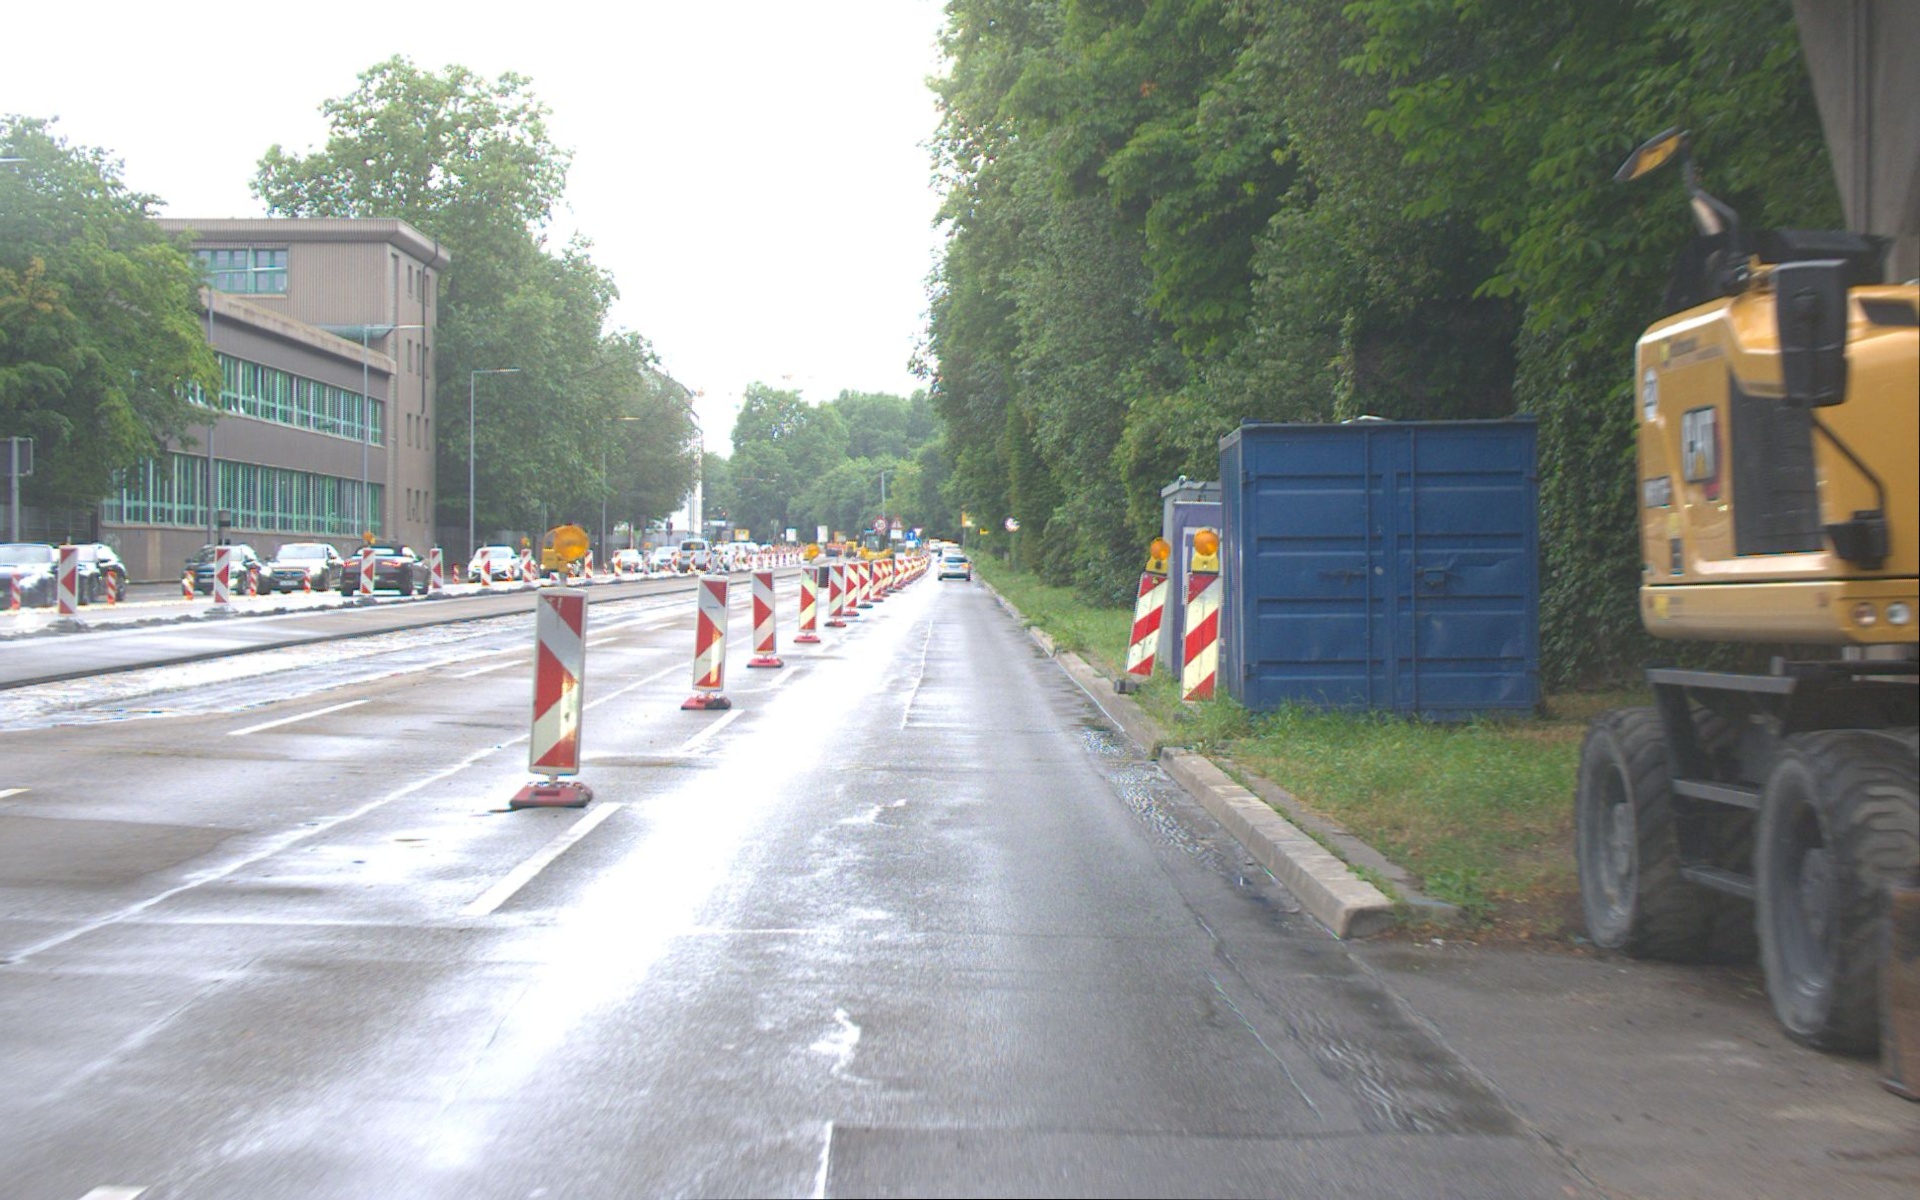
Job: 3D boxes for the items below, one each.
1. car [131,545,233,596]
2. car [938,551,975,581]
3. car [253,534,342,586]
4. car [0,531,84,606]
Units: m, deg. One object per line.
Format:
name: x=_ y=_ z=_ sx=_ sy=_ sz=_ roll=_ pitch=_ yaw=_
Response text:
car: x=-22.772 y=-0.868 z=100.719 sx=1.971 sy=1.437 sz=4.000 roll=0 pitch=1 yaw=2
car: x=-0.190 y=-1.884 z=191.243 sx=1.993 sy=1.634 sz=4.000 roll=0 pitch=1 yaw=-1
car: x=-18.878 y=-1.140 z=98.121 sx=1.723 sy=1.437 sz=4.000 roll=0 pitch=1 yaw=0
car: x=-18.873 y=-0.632 z=68.185 sx=1.971 sy=1.437 sz=4.000 roll=0 pitch=1 yaw=0
